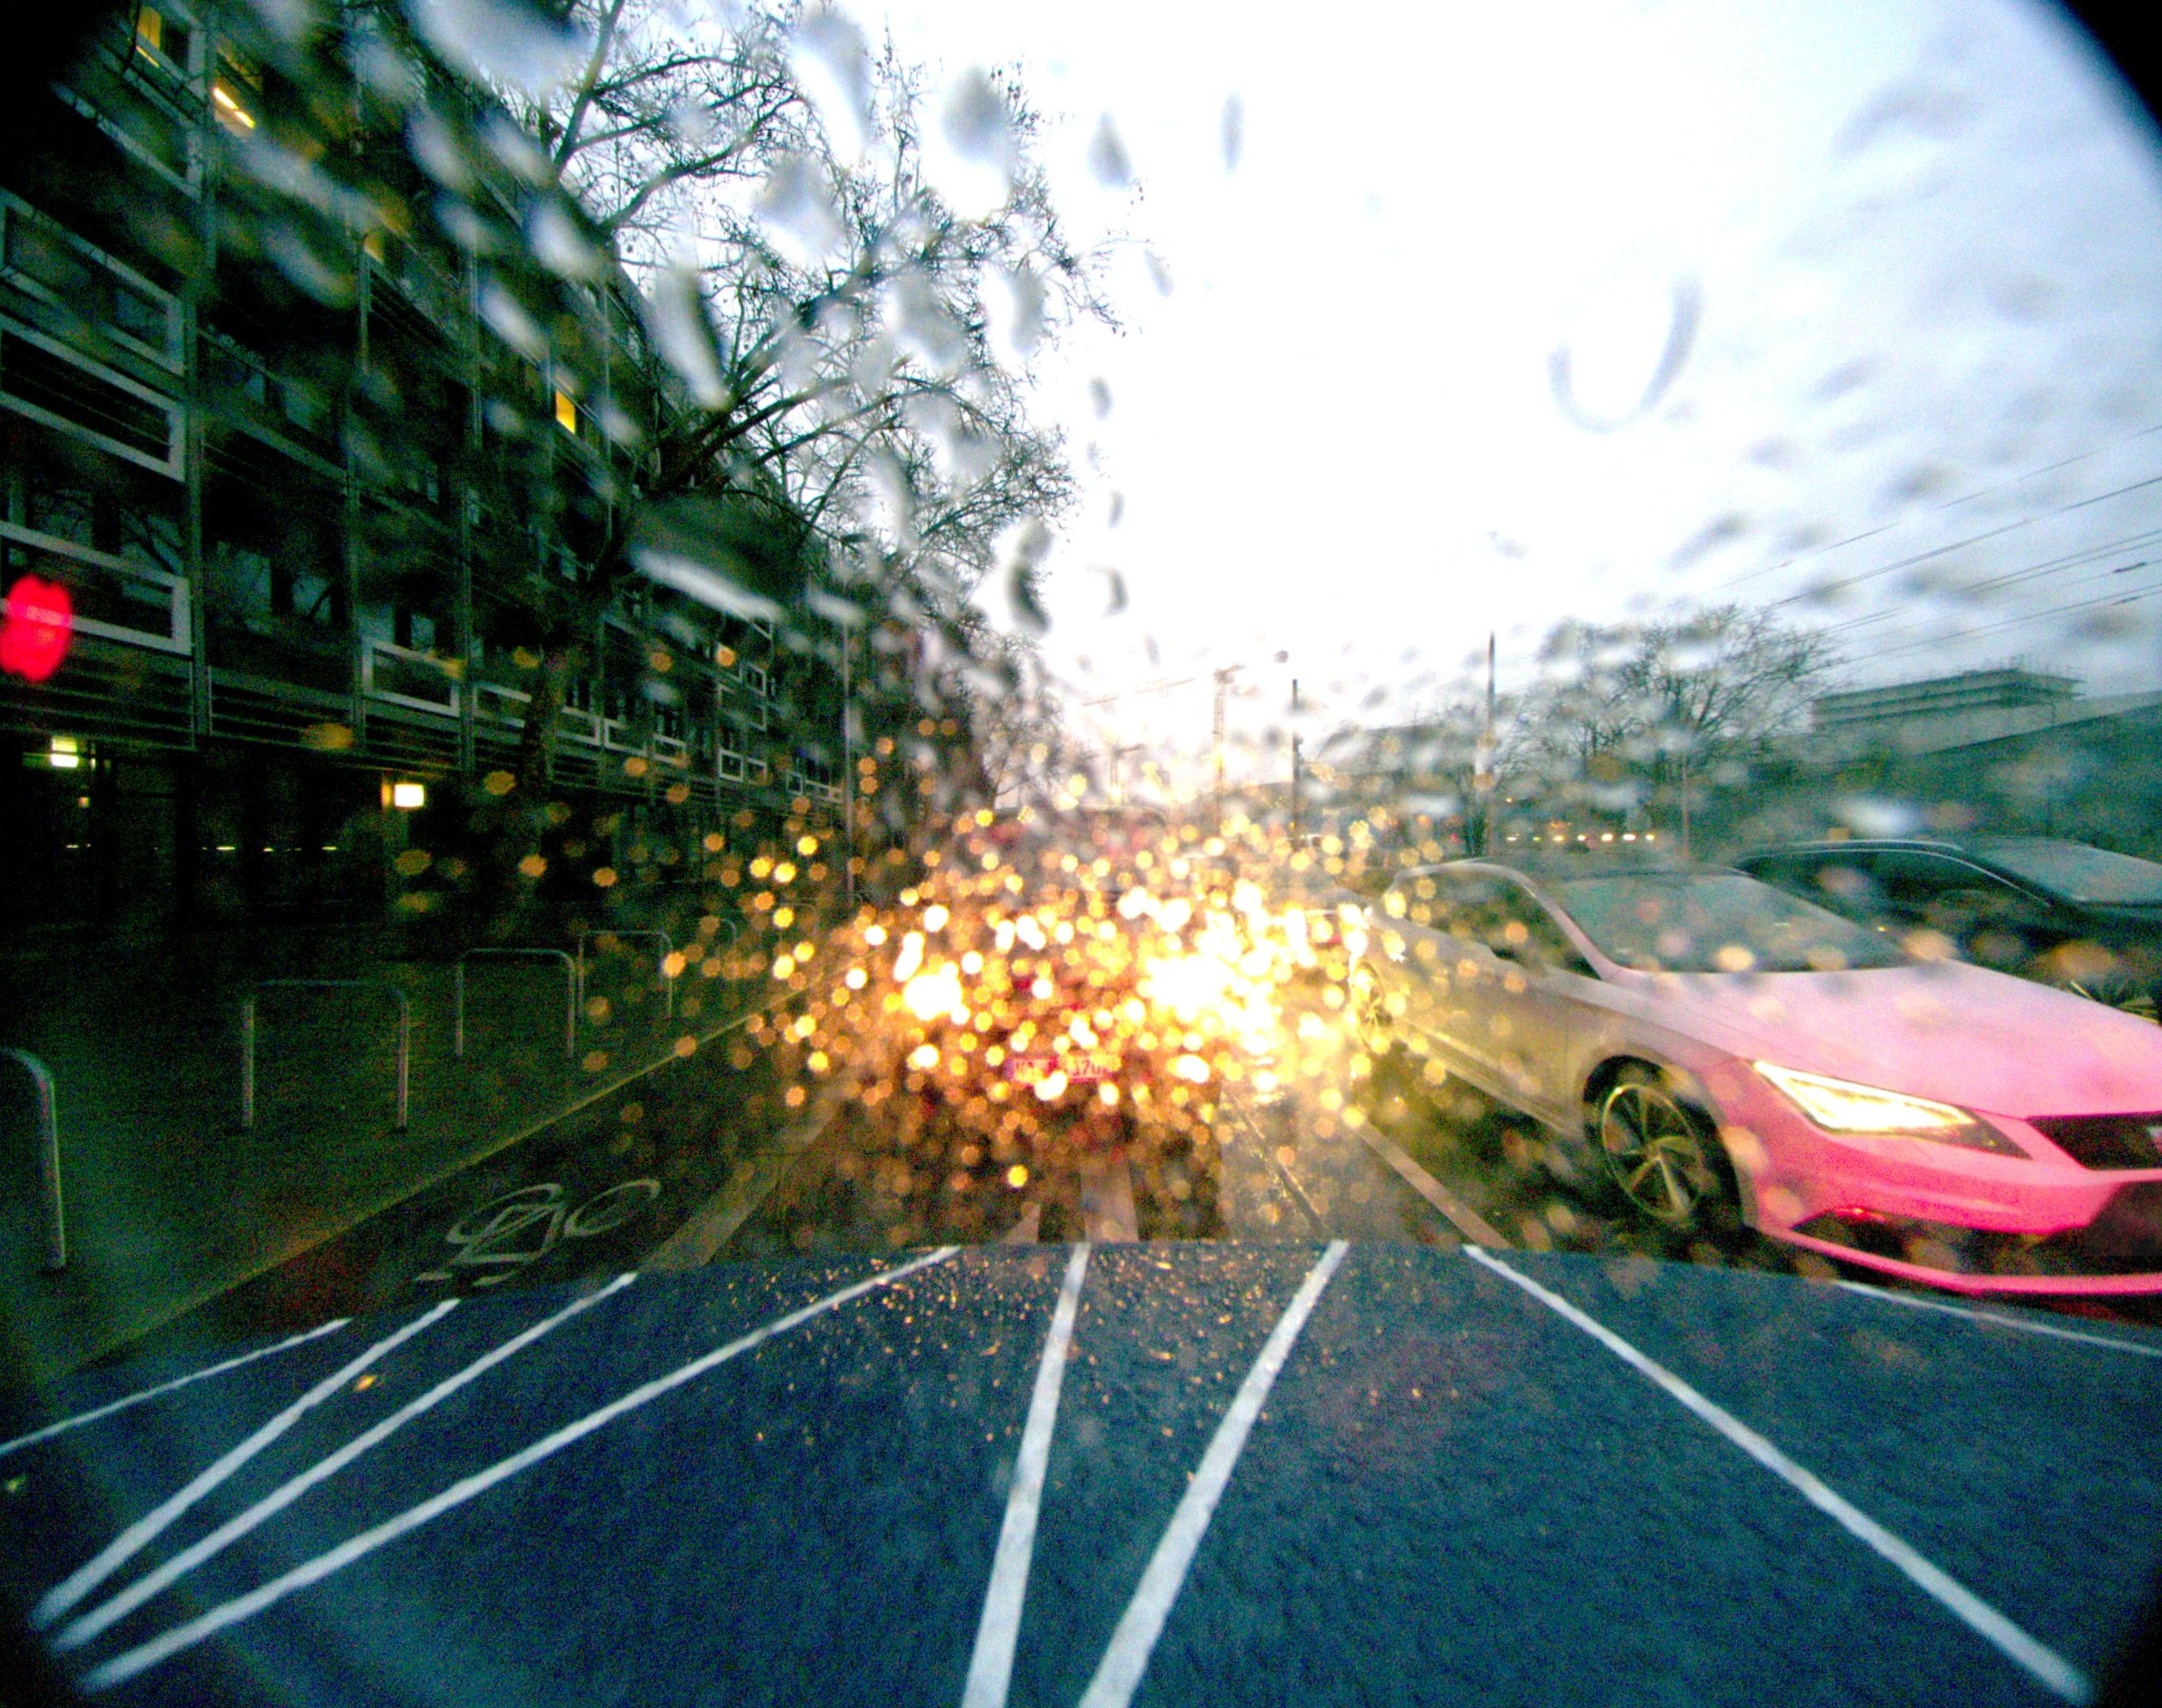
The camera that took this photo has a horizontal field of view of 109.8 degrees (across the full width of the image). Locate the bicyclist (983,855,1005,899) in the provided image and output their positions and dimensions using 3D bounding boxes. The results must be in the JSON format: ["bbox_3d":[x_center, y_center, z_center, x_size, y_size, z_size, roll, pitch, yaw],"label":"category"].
[{"bbox_3d":[-3.336,0.879,29.203,0.704,1.650,0.964,-1,0,1],"label":"bicyclist"}]

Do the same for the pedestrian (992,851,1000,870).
[{"bbox_3d":[-8.101,0.599,72.533,0.766,1.740,0.928,0,1,-4],"label":"pedestrian"}]

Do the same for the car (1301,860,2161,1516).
[{"bbox_3d":[2.978,0.836,4.165,1.949,1.478,4.504,-2,0,-4],"label":"car"}]

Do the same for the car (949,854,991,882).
[{"bbox_3d":[-6.275,0.773,43.353,1.713,1.455,3.999,-2,1,1],"label":"car"}]

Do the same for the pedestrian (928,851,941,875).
[{"bbox_3d":[-10.783,0.628,55.914,0.766,1.740,0.928,0,1,-4],"label":"pedestrian"}]

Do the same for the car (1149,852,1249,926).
[{"bbox_3d":[2.837,0.793,19.127,1.907,1.565,3.999,-2,1,1],"label":"car"}]

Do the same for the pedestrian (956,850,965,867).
[{"bbox_3d":[-12.238,0.446,77.174,0.766,1.740,0.928,0,1,-4],"label":"pedestrian"}]

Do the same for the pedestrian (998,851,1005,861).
[{"bbox_3d":[-10.556,0.228,100.661,0.782,1.330,0.751,-2,1,1],"label":"pedestrian"}]

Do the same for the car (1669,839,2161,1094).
[{"bbox_3d":[7.351,0.648,5.935,1.853,1.499,4.662,-1,1,-1],"label":"car"}]

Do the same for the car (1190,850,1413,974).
[{"bbox_3d":[3.021,0.698,11.515,1.999,1.478,4.505,-1,0,-1],"label":"car"}]

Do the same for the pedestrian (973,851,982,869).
[{"bbox_3d":[-10.009,0.601,73.685,0.766,1.740,0.928,0,1,-4],"label":"pedestrian"}]

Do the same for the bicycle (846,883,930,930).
[{"bbox_3d":[-4.455,1.205,17.652,1.704,0.987,0.879,1,1,0],"label":"bicycle"}]

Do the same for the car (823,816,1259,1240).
[{"bbox_3d":[-0.183,0.759,5.400,1.878,1.830,3.999,-2,1,0],"label":"car"}]

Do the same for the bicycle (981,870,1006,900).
[{"bbox_3d":[-3.343,1.163,29.166,0.710,1.088,1.784,-1,0,1],"label":"bicycle"}]

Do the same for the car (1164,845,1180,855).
[{"bbox_3d":[17.126,-0.687,142.500,2.095,1.884,3.997,-1,1,-7],"label":"car"}]
